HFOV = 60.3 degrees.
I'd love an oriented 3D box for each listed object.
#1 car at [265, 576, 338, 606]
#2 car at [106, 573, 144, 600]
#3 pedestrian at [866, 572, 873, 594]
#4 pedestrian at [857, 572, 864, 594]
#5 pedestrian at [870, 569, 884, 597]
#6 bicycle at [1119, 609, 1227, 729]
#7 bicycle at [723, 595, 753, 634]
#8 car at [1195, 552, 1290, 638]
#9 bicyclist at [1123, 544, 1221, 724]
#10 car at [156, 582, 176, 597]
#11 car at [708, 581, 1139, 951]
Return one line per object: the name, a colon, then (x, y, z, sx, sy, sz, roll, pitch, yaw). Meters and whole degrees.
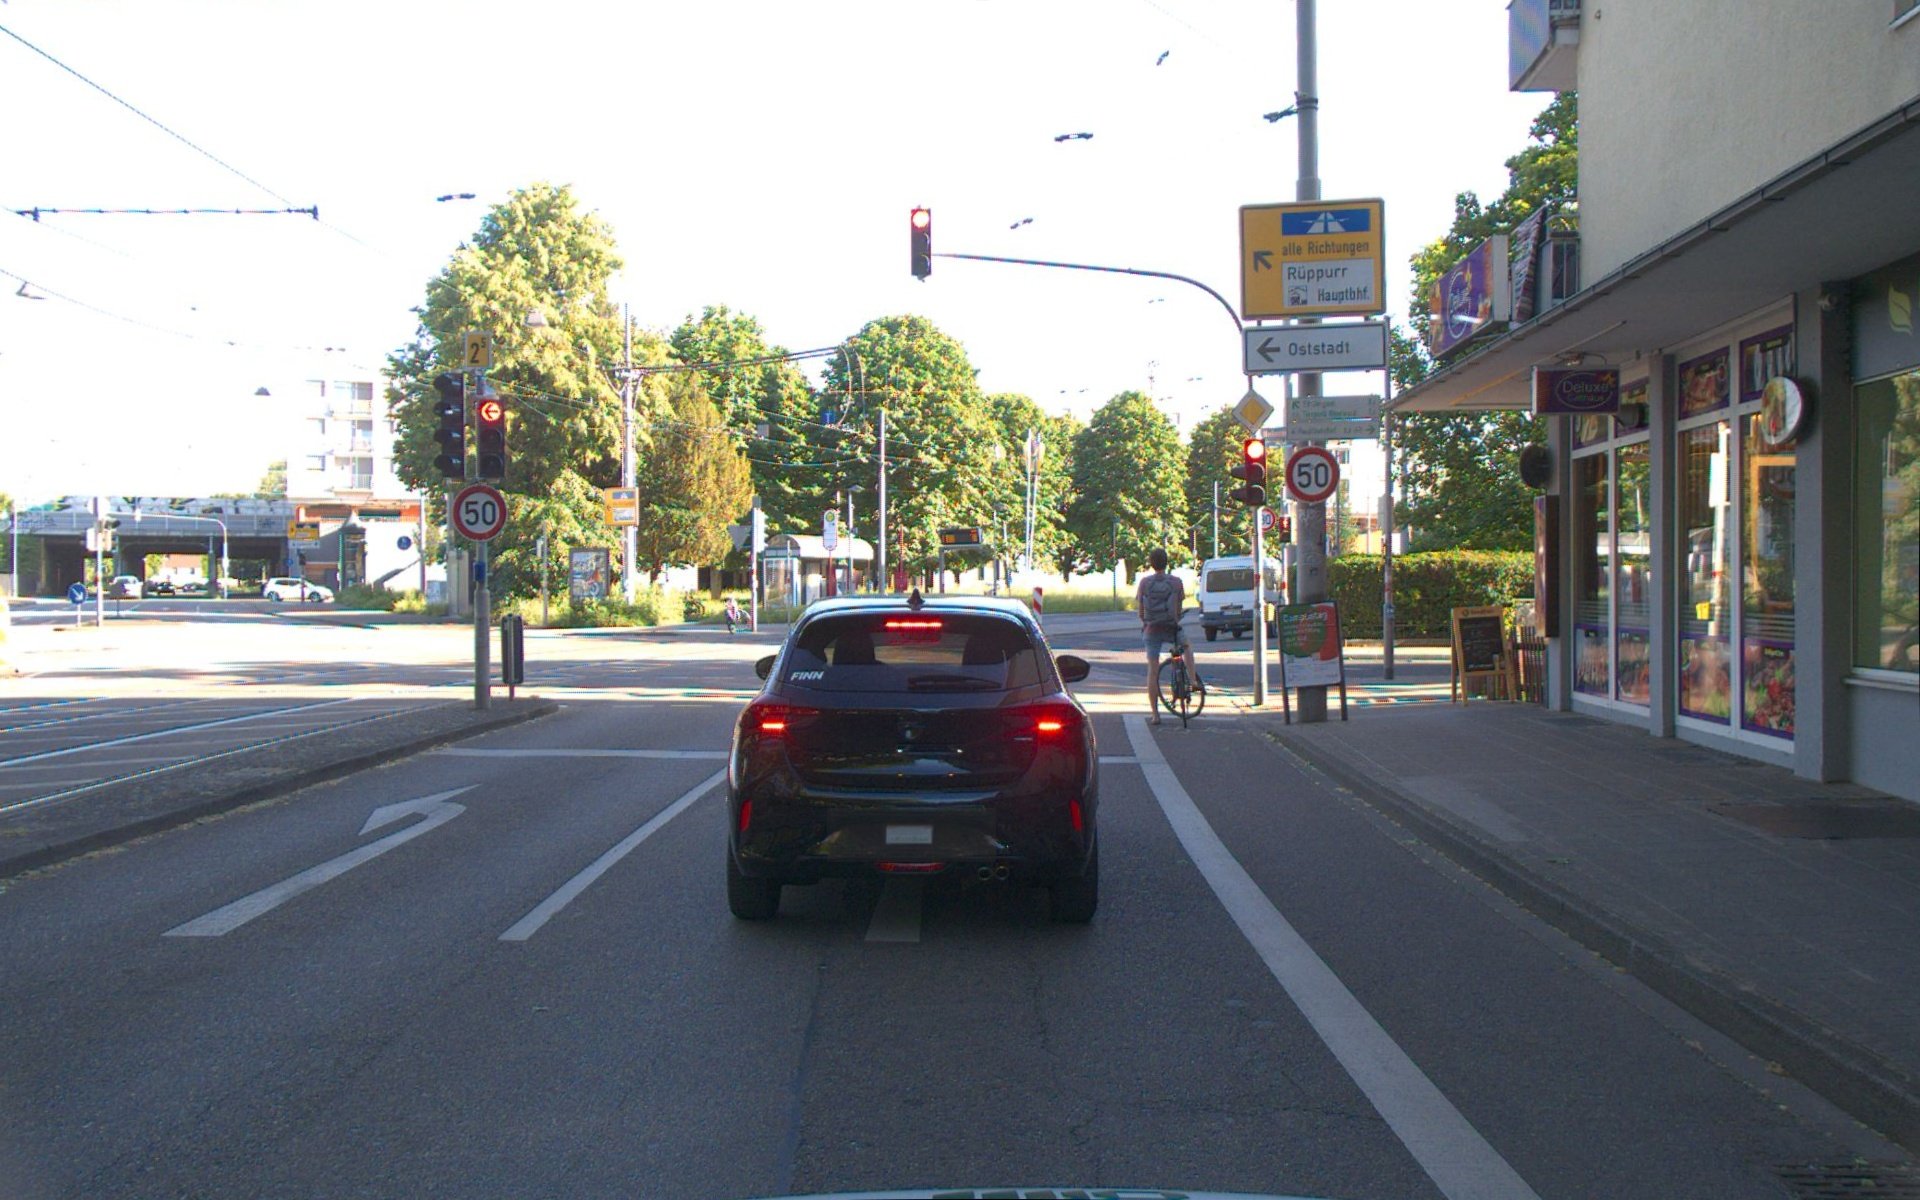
car: (-42.406, -0.588, 106.646, 4.102, 1.836, 1.731, -1, 0, -13)
car: (-60.619, -0.987, 120.191, 2.183, 1.855, 4.117, -1, 1, -23)
pedestrian: (-5.983, -1.106, 109.337, 0.404, 1.437, 0.436, 2, 0, -1)
pedestrian: (-6.628, -1.123, 109.870, 0.404, 1.437, 0.436, 2, 0, -3)
pedestrian: (-6.008, -1.223, 120.028, 0.899, 2.015, 0.991, 2, 0, -7)
bicycle: (2.276, 0.711, 17.966, 0.842, 1.173, 2.171, -1, 1, -1)
bicycle: (-6.217, 0.383, 46.384, 0.593, 1.049, 1.982, 0, 1, -1)
car: (8.013, -0.153, 46.589, 2.020, 2.288, 4.890, 0, 1, 17)
bicyclist: (2.280, 0.355, 17.900, 0.922, 1.883, 0.864, -1, 0, -1)
car: (-90.802, -1.229, 189.124, 1.969, 1.630, 4.211, -1, 1, -26)
car: (-0.163, 0.643, 8.643, 1.692, 1.454, 4.186, 1, 0, -1)
